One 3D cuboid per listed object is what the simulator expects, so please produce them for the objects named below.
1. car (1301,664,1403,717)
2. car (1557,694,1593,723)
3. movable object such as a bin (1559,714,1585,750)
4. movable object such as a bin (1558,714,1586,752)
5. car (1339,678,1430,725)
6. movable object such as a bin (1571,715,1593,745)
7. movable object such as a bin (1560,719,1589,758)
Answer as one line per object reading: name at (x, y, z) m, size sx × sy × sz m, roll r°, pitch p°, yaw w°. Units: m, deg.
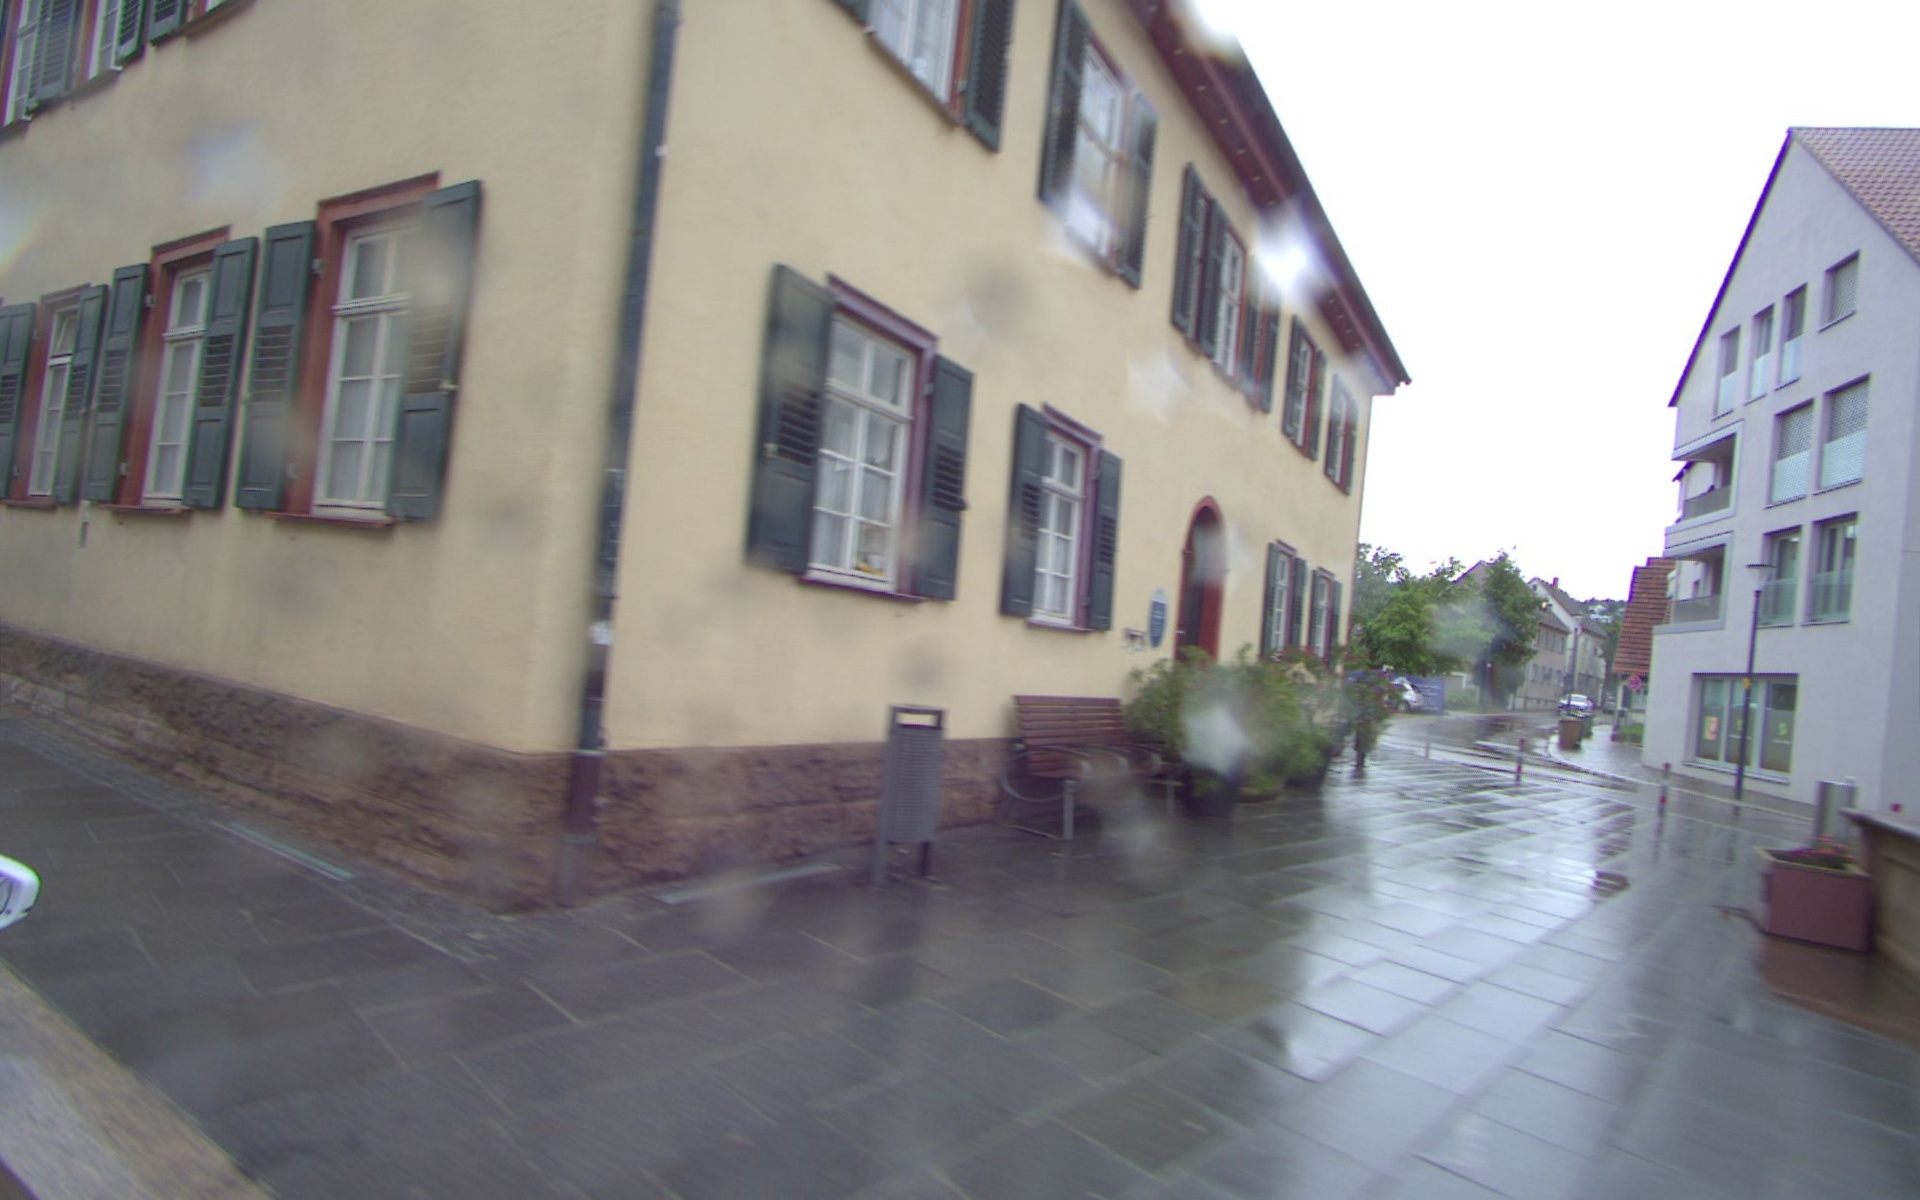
car at (18.749, 4.335, 48.192) m, size 4.080 × 1.948 × 1.902 m, roll 6°, pitch -1°, yaw 36°
car at (46.767, 8.238, 76.439) m, size 1.968 × 1.829 × 3.990 m, roll 6°, pitch -1°, yaw 34°
movable object such as a bin at (24.181, 5.191, 39.759) m, size 0.767 × 1.274 × 1.015 m, roll 6°, pitch 0°, yaw 32°
movable object such as a bin at (23.252, 5.038, 38.237) m, size 0.767 × 1.274 × 1.015 m, roll 6°, pitch 0°, yaw 32°
car at (22.707, 5.411, 53.851) m, size 4.079 × 1.948 × 1.722 m, roll 6°, pitch -1°, yaw 35°
movable object such as a bin at (29.502, 6.138, 47.707) m, size 0.767 × 1.274 × 1.015 m, roll 6°, pitch 0°, yaw 32°
movable object such as a bin at (22.073, 4.960, 36.124) m, size 0.767 × 1.274 × 1.015 m, roll 6°, pitch 0°, yaw 32°
